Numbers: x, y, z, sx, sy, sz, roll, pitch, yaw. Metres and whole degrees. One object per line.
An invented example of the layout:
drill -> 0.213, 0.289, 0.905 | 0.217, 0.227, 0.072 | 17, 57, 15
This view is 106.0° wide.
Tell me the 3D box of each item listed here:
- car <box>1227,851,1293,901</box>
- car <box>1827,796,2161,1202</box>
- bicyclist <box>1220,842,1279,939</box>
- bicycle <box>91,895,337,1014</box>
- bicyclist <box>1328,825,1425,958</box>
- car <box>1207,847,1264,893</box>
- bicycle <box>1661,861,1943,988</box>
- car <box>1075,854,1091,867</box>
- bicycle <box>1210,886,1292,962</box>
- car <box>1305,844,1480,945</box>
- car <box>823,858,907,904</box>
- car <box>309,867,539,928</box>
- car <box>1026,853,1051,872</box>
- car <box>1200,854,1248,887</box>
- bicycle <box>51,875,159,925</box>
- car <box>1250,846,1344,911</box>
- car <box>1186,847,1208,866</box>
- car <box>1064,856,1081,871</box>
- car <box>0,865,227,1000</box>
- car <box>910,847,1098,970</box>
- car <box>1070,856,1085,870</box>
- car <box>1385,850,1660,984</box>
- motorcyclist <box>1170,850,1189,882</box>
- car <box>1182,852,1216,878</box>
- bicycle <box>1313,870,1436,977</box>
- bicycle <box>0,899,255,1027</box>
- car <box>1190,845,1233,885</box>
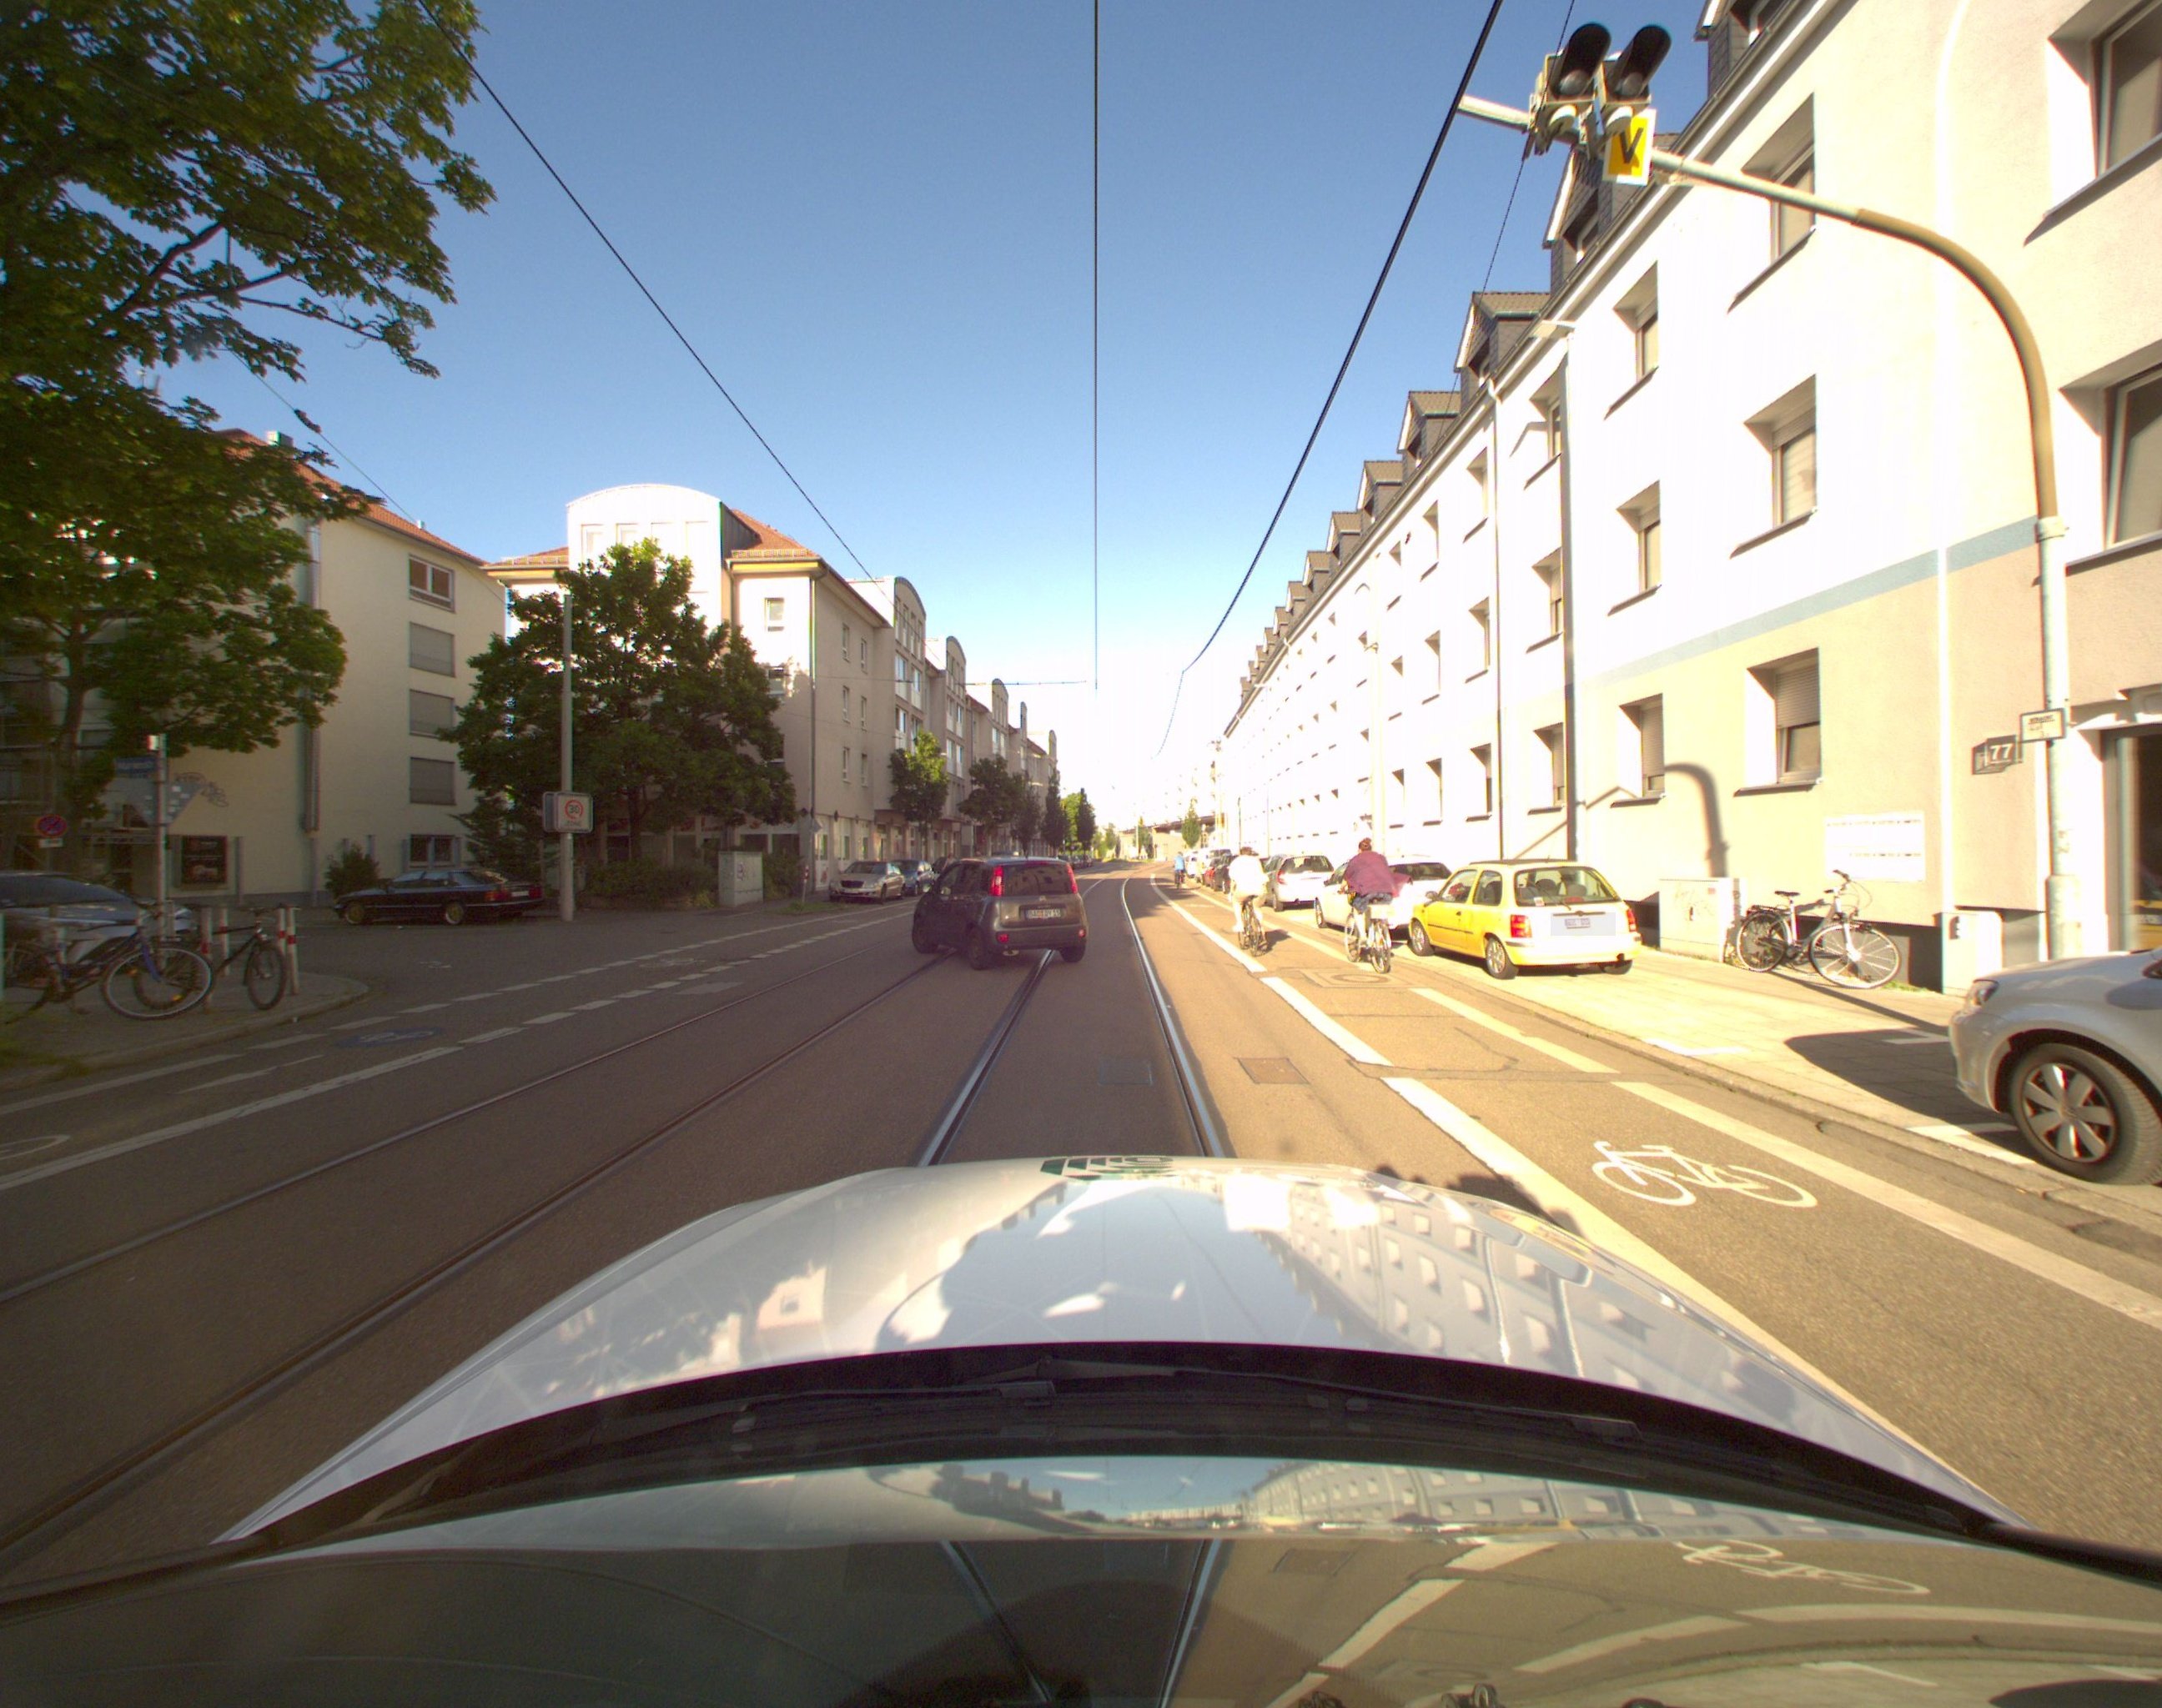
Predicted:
car -> 6.196, 0.719, 28.574 | 1.585, 1.537, 4.011 | -3, 0, 4
car -> 5.299, 0.562, 2.470 | 1.750, 1.665, 4.624 | -2, 0, -1
bicyclist -> 2.631, 0.556, 12.823 | 0.725, 1.462, 1.021 | -1, 0, 1
bicycle -> -8.600, 0.983, 8.113 | 1.869, 1.084, 0.596 | -1, 0, 3
bicyclist -> 3.884, 0.477, 10.797 | 0.931, 1.676, 0.970 | -1, 0, 1
car -> 6.267, 0.620, 33.409 | 1.654, 1.669, 3.907 | -4, 0, 3
bicycle -> 7.852, 0.696, 9.094 | 1.092, 1.197, 2.327 | -1, 0, 1
car -> 0.296, 0.801, 101.574 | 1.836, 1.646, 3.700 | -1, 0, 3
bicycle -> 2.631, 1.045, 12.937 | 0.736, 0.924, 2.837 | 2, 0, 1
car -> 5.646, 0.649, 15.413 | 1.673, 1.571, 4.511 | -2, 0, 2
car -> -7.503, 0.894, 28.694 | 1.737, 1.443, 4.002 | 1, 0, 2
car -> -16.289, 1.063, 20.292 | 4.531, 1.388, 1.717 | -1, -1, 6
car -> -3.751, 0.701, 72.436 | 1.657, 1.618, 4.004 | -1, 0, 4
car -> 6.709, 0.752, 38.574 | 1.788, 1.483, 3.781 | -1, 0, 3
bicycle -> -26.660, 1.234, 22.312 | 0.724, 1.165, 1.981 | -1, 3, -9
car -> 6.040, 0.624, 23.201 | 1.747, 1.571, 3.907 | -4, 0, 3
car -> 11.798, 0.245, 82.874 | 1.836, 1.756, 4.552 | -1, 0, 3
car -> -0.939, 1.051, 90.975 | 1.585, 1.540, 3.193 | -1, 0, 3
car -> -15.283, 1.082, 11.742 | 3.969, 1.659, 1.912 | -1, 2, 4
car -> -1.286, 0.727, 12.157 | 1.565, 1.533, 3.454 | -1, -1, -28
car -> -0.369, 1.072, 95.026 | 1.585, 1.540, 3.193 | -1, 0, 3
car -> 5.650, 0.691, 11.073 | 1.508, 1.430, 4.202 | -2, 0, 1
motorcyclist -> 4.424, 0.520, 36.631 | 0.725, 1.405, 1.021 | -1, 0, 1
car -> 7.886, 0.733, 54.744 | 1.836, 1.646, 4.552 | -1, 0, 3
bicycle -> 3.892, 0.861, 11.062 | 0.818, 1.236, 2.463 | 1, 0, 1
bicycle -> -8.798, 0.987, 7.509 | 1.798, 1.084, 0.596 | -1, 0, 3
car -> 6.892, 0.563, 43.249 | 1.779, 1.970, 4.158 | -2, 0, 3
